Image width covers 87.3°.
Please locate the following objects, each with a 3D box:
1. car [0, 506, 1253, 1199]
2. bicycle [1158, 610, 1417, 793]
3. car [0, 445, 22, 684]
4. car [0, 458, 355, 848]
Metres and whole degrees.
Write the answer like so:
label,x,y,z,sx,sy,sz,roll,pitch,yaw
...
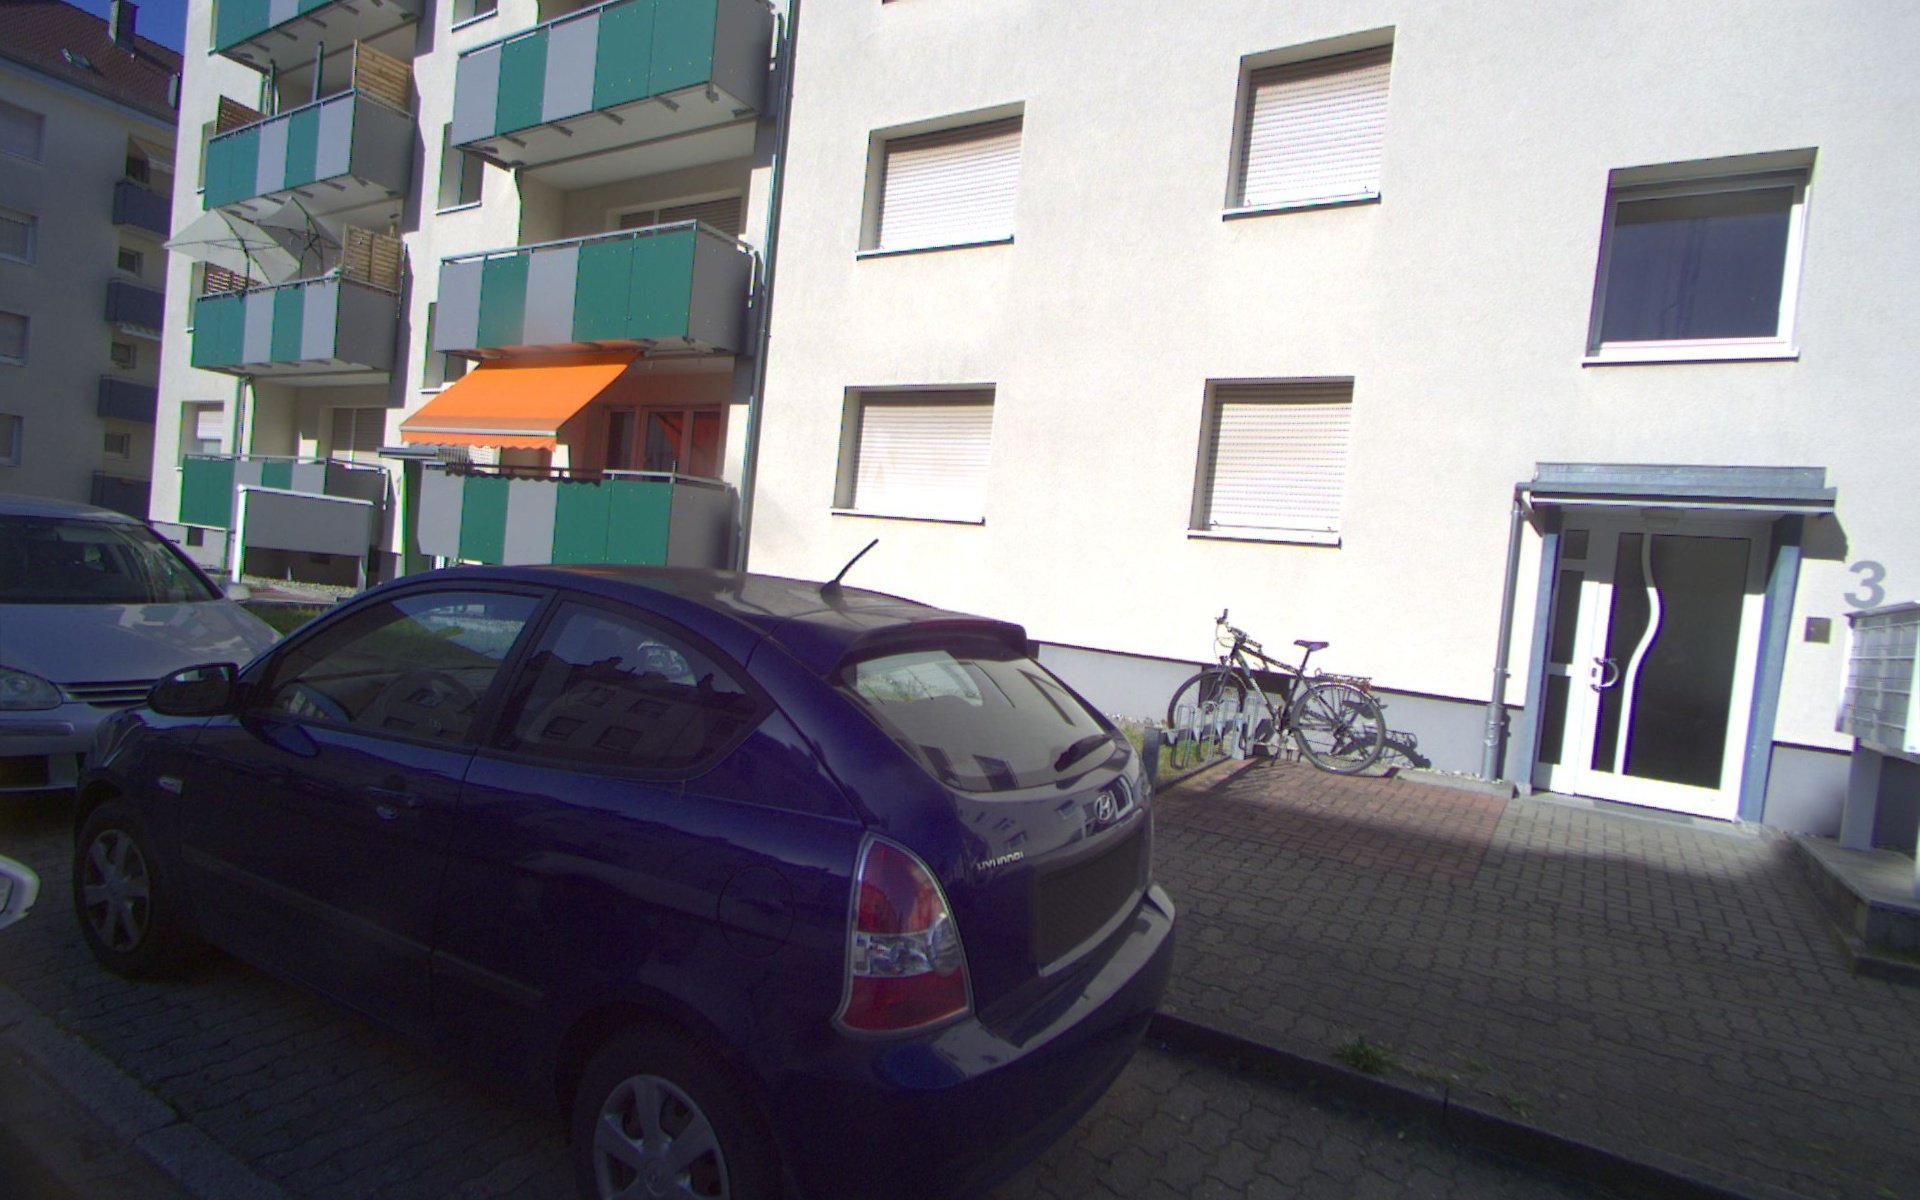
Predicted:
label,x,y,z,sx,sy,sz,roll,pitch,yaw
car,-1.431,0.555,3.423,4.283,1.451,1.738,5,2,30
bicycle,2.497,0.722,7.767,1.704,1.084,0.648,7,6,32
car,-9.840,-0.467,8.139,4.268,1.879,1.899,5,1,27
car,-5.388,0.076,5.567,3.944,1.608,1.683,6,2,29
